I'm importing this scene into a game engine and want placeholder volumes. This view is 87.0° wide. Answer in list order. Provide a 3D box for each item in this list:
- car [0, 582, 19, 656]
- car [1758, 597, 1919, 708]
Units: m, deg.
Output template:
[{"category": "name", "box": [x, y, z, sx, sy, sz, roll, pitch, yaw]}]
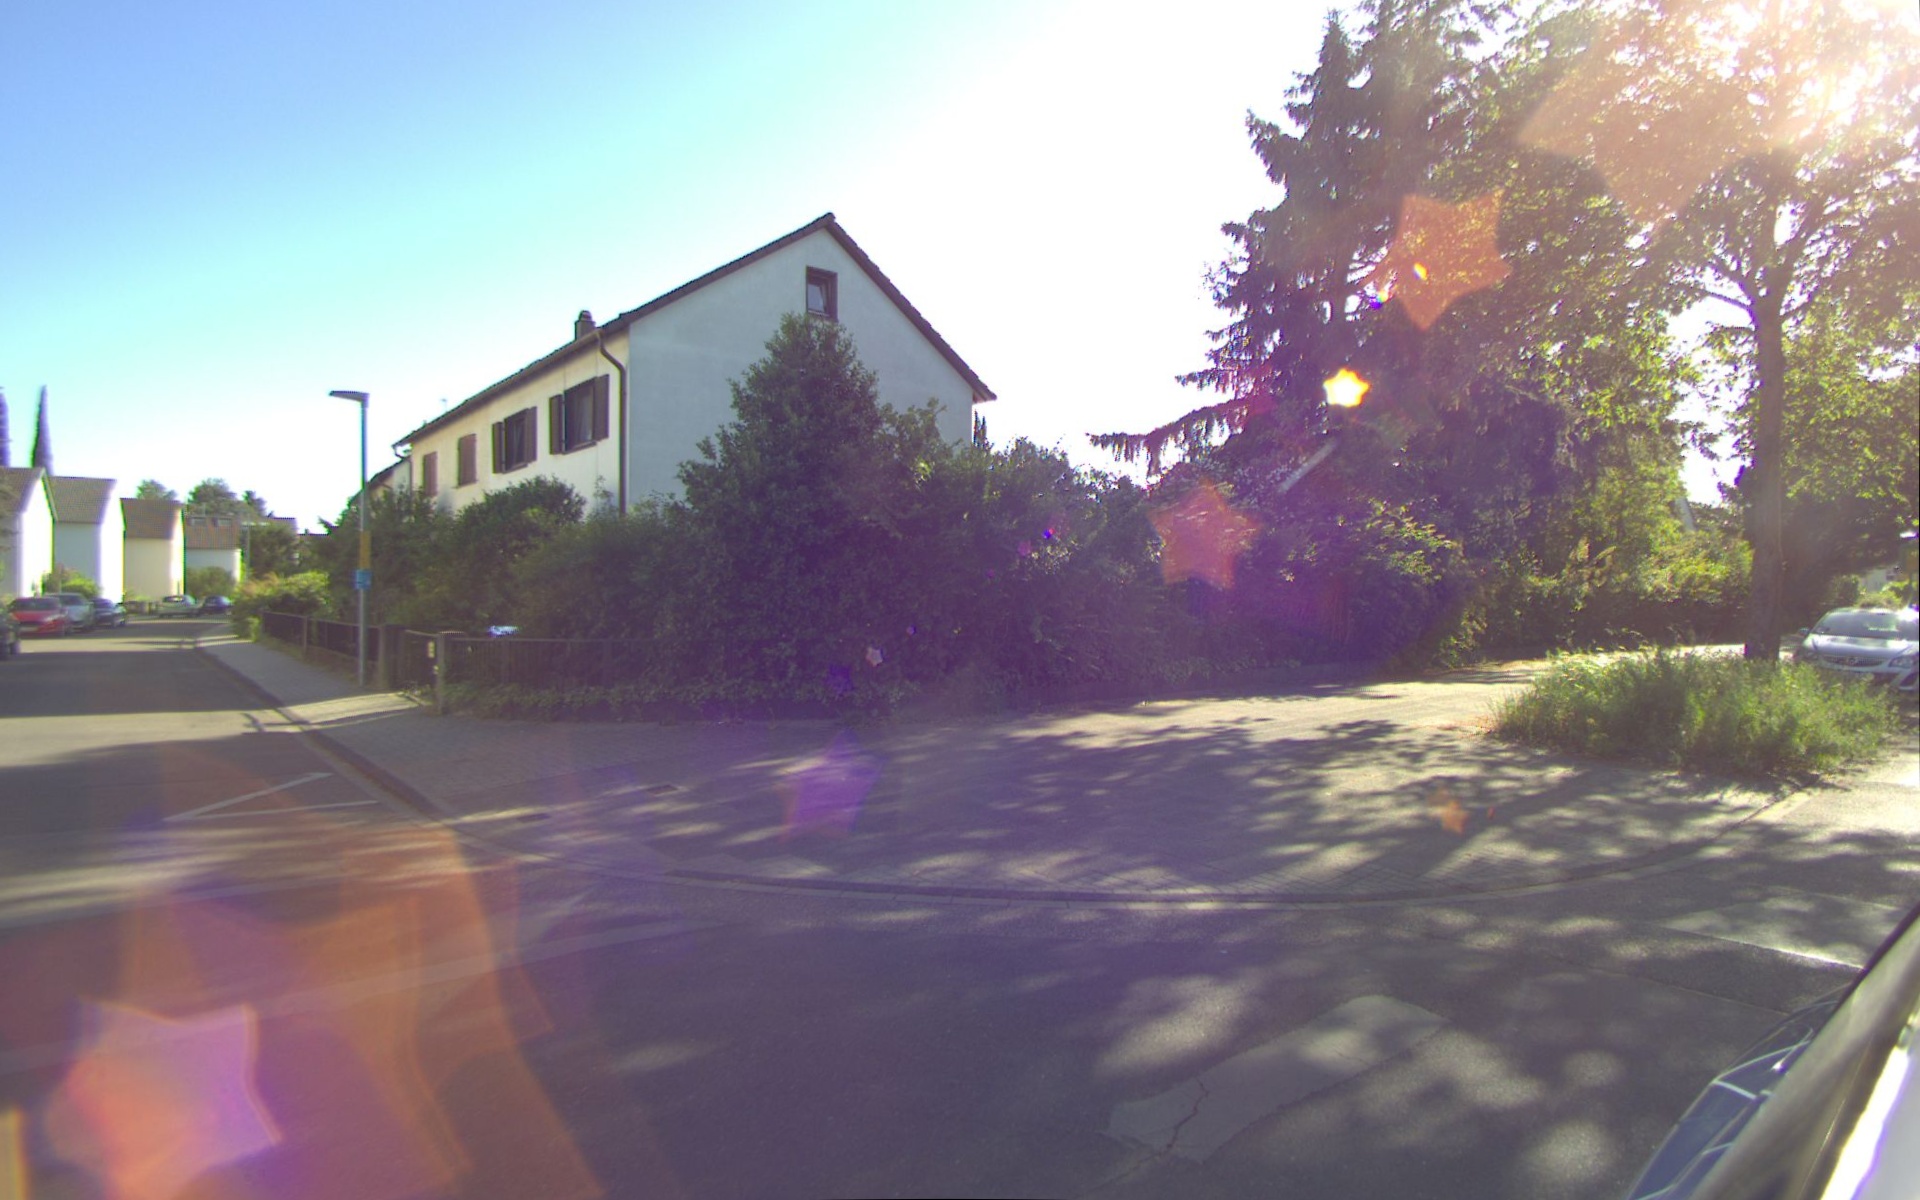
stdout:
[{"category": "car", "box": [-22.988, 0.414, 23.441, 1.619, 1.628, 3.689, 0, 0, -41]}, {"category": "car", "box": [15.342, 0.778, 16.937, 3.923, 1.529, 2.001, -1, 2, -34]}]
